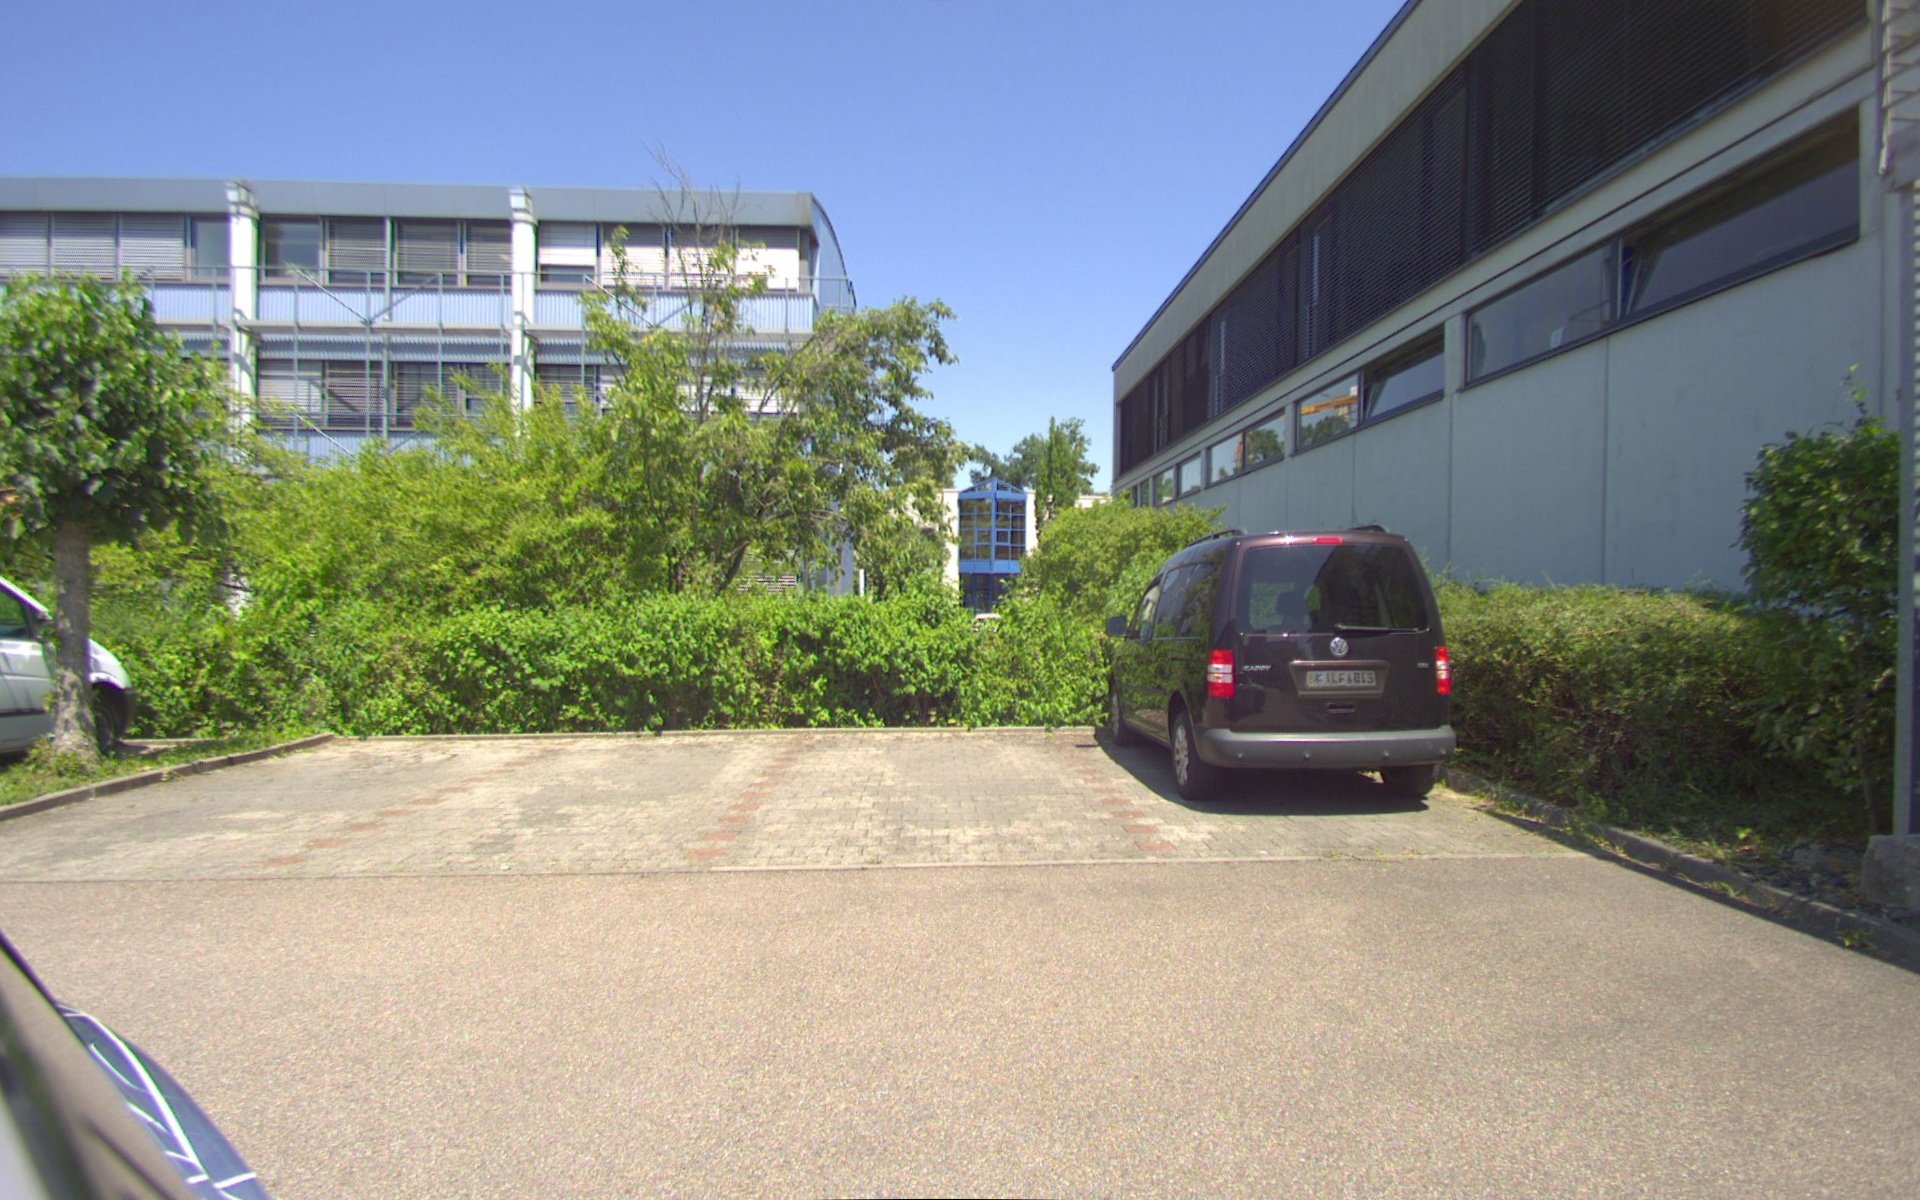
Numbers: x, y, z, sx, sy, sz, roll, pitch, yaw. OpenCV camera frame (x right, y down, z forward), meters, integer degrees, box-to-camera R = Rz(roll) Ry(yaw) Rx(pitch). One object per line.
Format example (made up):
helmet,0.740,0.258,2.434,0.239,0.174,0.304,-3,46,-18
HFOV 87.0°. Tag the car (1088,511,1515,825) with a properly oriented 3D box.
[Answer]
car,2.351,0.411,8.270,1.841,1.874,4.231,-1,0,-3

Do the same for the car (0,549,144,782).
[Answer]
car,-8.601,0.542,7.284,1.841,1.874,4.680,-1,0,-3
